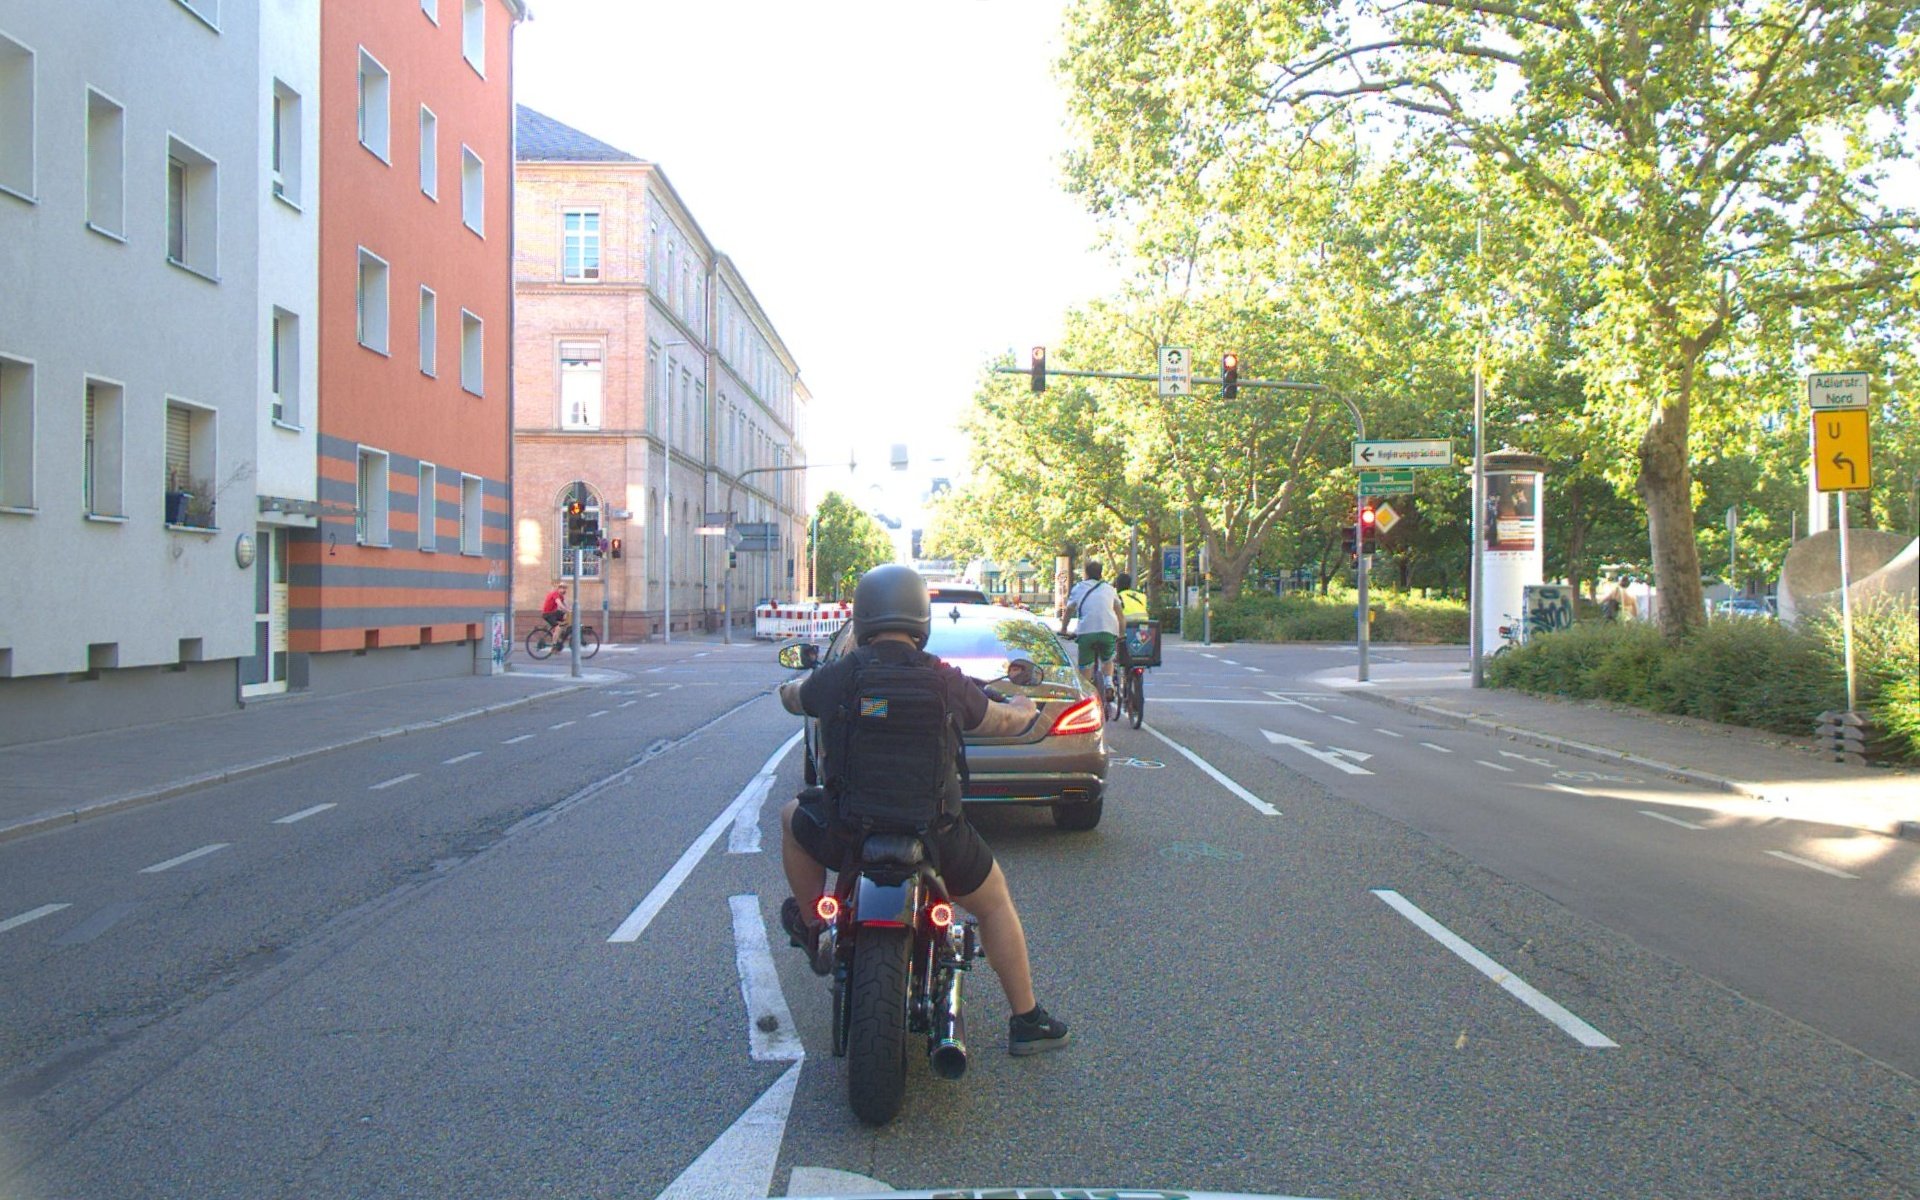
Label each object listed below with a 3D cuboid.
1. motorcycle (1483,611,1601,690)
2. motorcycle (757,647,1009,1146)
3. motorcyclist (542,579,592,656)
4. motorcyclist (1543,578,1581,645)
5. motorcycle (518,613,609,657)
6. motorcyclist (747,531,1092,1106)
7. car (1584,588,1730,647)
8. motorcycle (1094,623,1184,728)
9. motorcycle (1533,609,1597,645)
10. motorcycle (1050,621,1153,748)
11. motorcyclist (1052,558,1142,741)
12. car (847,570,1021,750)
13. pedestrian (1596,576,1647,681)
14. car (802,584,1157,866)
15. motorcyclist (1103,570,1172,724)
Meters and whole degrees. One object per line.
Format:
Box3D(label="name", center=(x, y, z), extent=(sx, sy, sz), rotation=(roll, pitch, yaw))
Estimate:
Box3D(label="motorcycle", center=(9.778, 0.840, 27.822), extent=(1.743, 1.265, 0.723), rotation=(1, 0, 4))
Box3D(label="motorcycle", center=(-0.218, 0.817, 5.416), extent=(0.646, 1.261, 2.057), rotation=(1, 0, -1))
Box3D(label="motorcyclist", center=(-9.118, 0.412, 38.376), extent=(0.964, 1.753, 0.551), rotation=(1, -1, 3))
Box3D(label="motorcyclist", center=(17.323, 0.334, 47.632), extent=(0.962, 1.909, 0.376), rotation=(0, -1, 3))
Box3D(label="motorcycle", center=(-9.193, 0.805, 38.369), extent=(1.970, 0.979, 0.581), rotation=(1, 0, 4))
Box3D(label="motorcyclist", center=(-0.123, 0.632, 5.326), extent=(0.970, 1.639, 1.120), rotation=(1, 0, -1))
Box3D(label="car", center=(21.995, 0.541, 52.292), extent=(3.907, 1.803, 1.737), rotation=(0, 0, -3))
Box3D(label="motorcycle", center=(2.097, 0.861, 19.665), extent=(0.781, 1.151, 2.236), rotation=(1, 0, -1))
Box3D(label="motorcycle", center=(17.402, 0.782, 47.621), extent=(1.683, 1.019, 0.416), rotation=(0, 0, 3))
Box3D(label="motorcycle", center=(1.416, 0.828, 16.871), extent=(0.845, 1.189, 1.929), rotation=(1, 0, -1))
Box3D(label="motorcyclist", center=(1.400, 0.500, 17.026), extent=(0.814, 1.820, 0.913), rotation=(1, -1, -1))
Box3D(label="car", center=(-0.273, 0.578, 17.654), extent=(1.618, 1.681, 3.999), rotation=(1, 0, -1))
Box3D(label="pedestrian", center=(11.845, 0.497, 29.626), extent=(0.634, 1.859, 0.667), rotation=(0, 0, -1))
Box3D(label="car", center=(-0.084, 0.688, 11.125), extent=(1.790, 1.512, 4.326), rotation=(1, 0, -7))
Box3D(label="motorcyclist", center=(2.099, 0.551, 19.603), extent=(0.702, 1.773, 0.751), rotation=(1, -1, -1))
